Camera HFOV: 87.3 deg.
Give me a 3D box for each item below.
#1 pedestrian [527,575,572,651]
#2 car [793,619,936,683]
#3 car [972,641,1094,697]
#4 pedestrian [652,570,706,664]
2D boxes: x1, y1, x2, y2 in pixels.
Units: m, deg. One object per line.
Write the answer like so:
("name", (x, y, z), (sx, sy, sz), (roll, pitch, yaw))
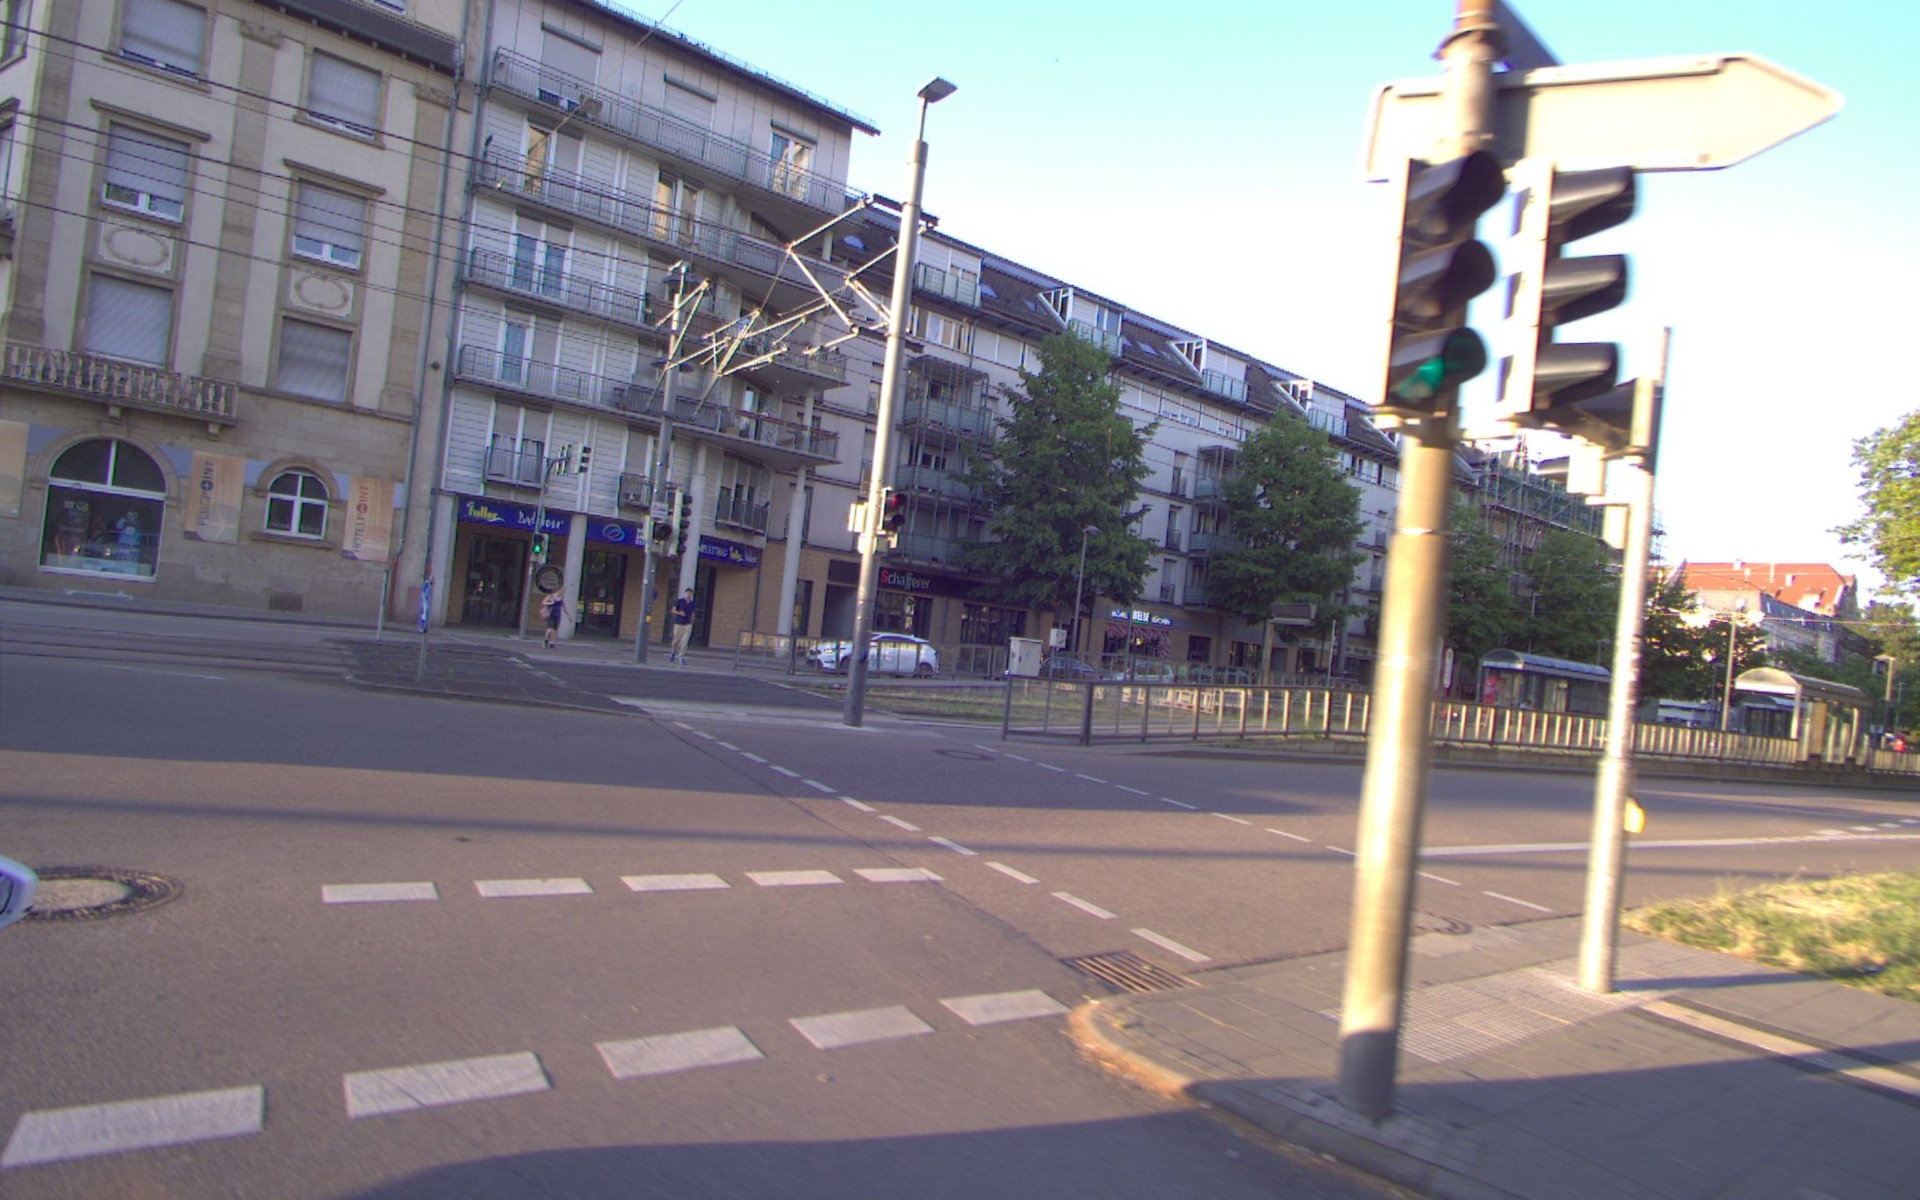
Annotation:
("pedestrian", (-10.294, 0.327, 25.206), (0.781, 1.799, 0.539), (7, -2, -32))
("car", (-2.966, 1.593, 31.477), (3.963, 1.502, 1.834), (9, -3, -33))
("car", (2.602, 2.436, 35.410), (3.969, 1.502, 1.831), (9, -3, -38))
("pedestrian", (-7.015, 0.429, 25.109), (0.814, 2.234, 0.863), (7, -2, -36))
